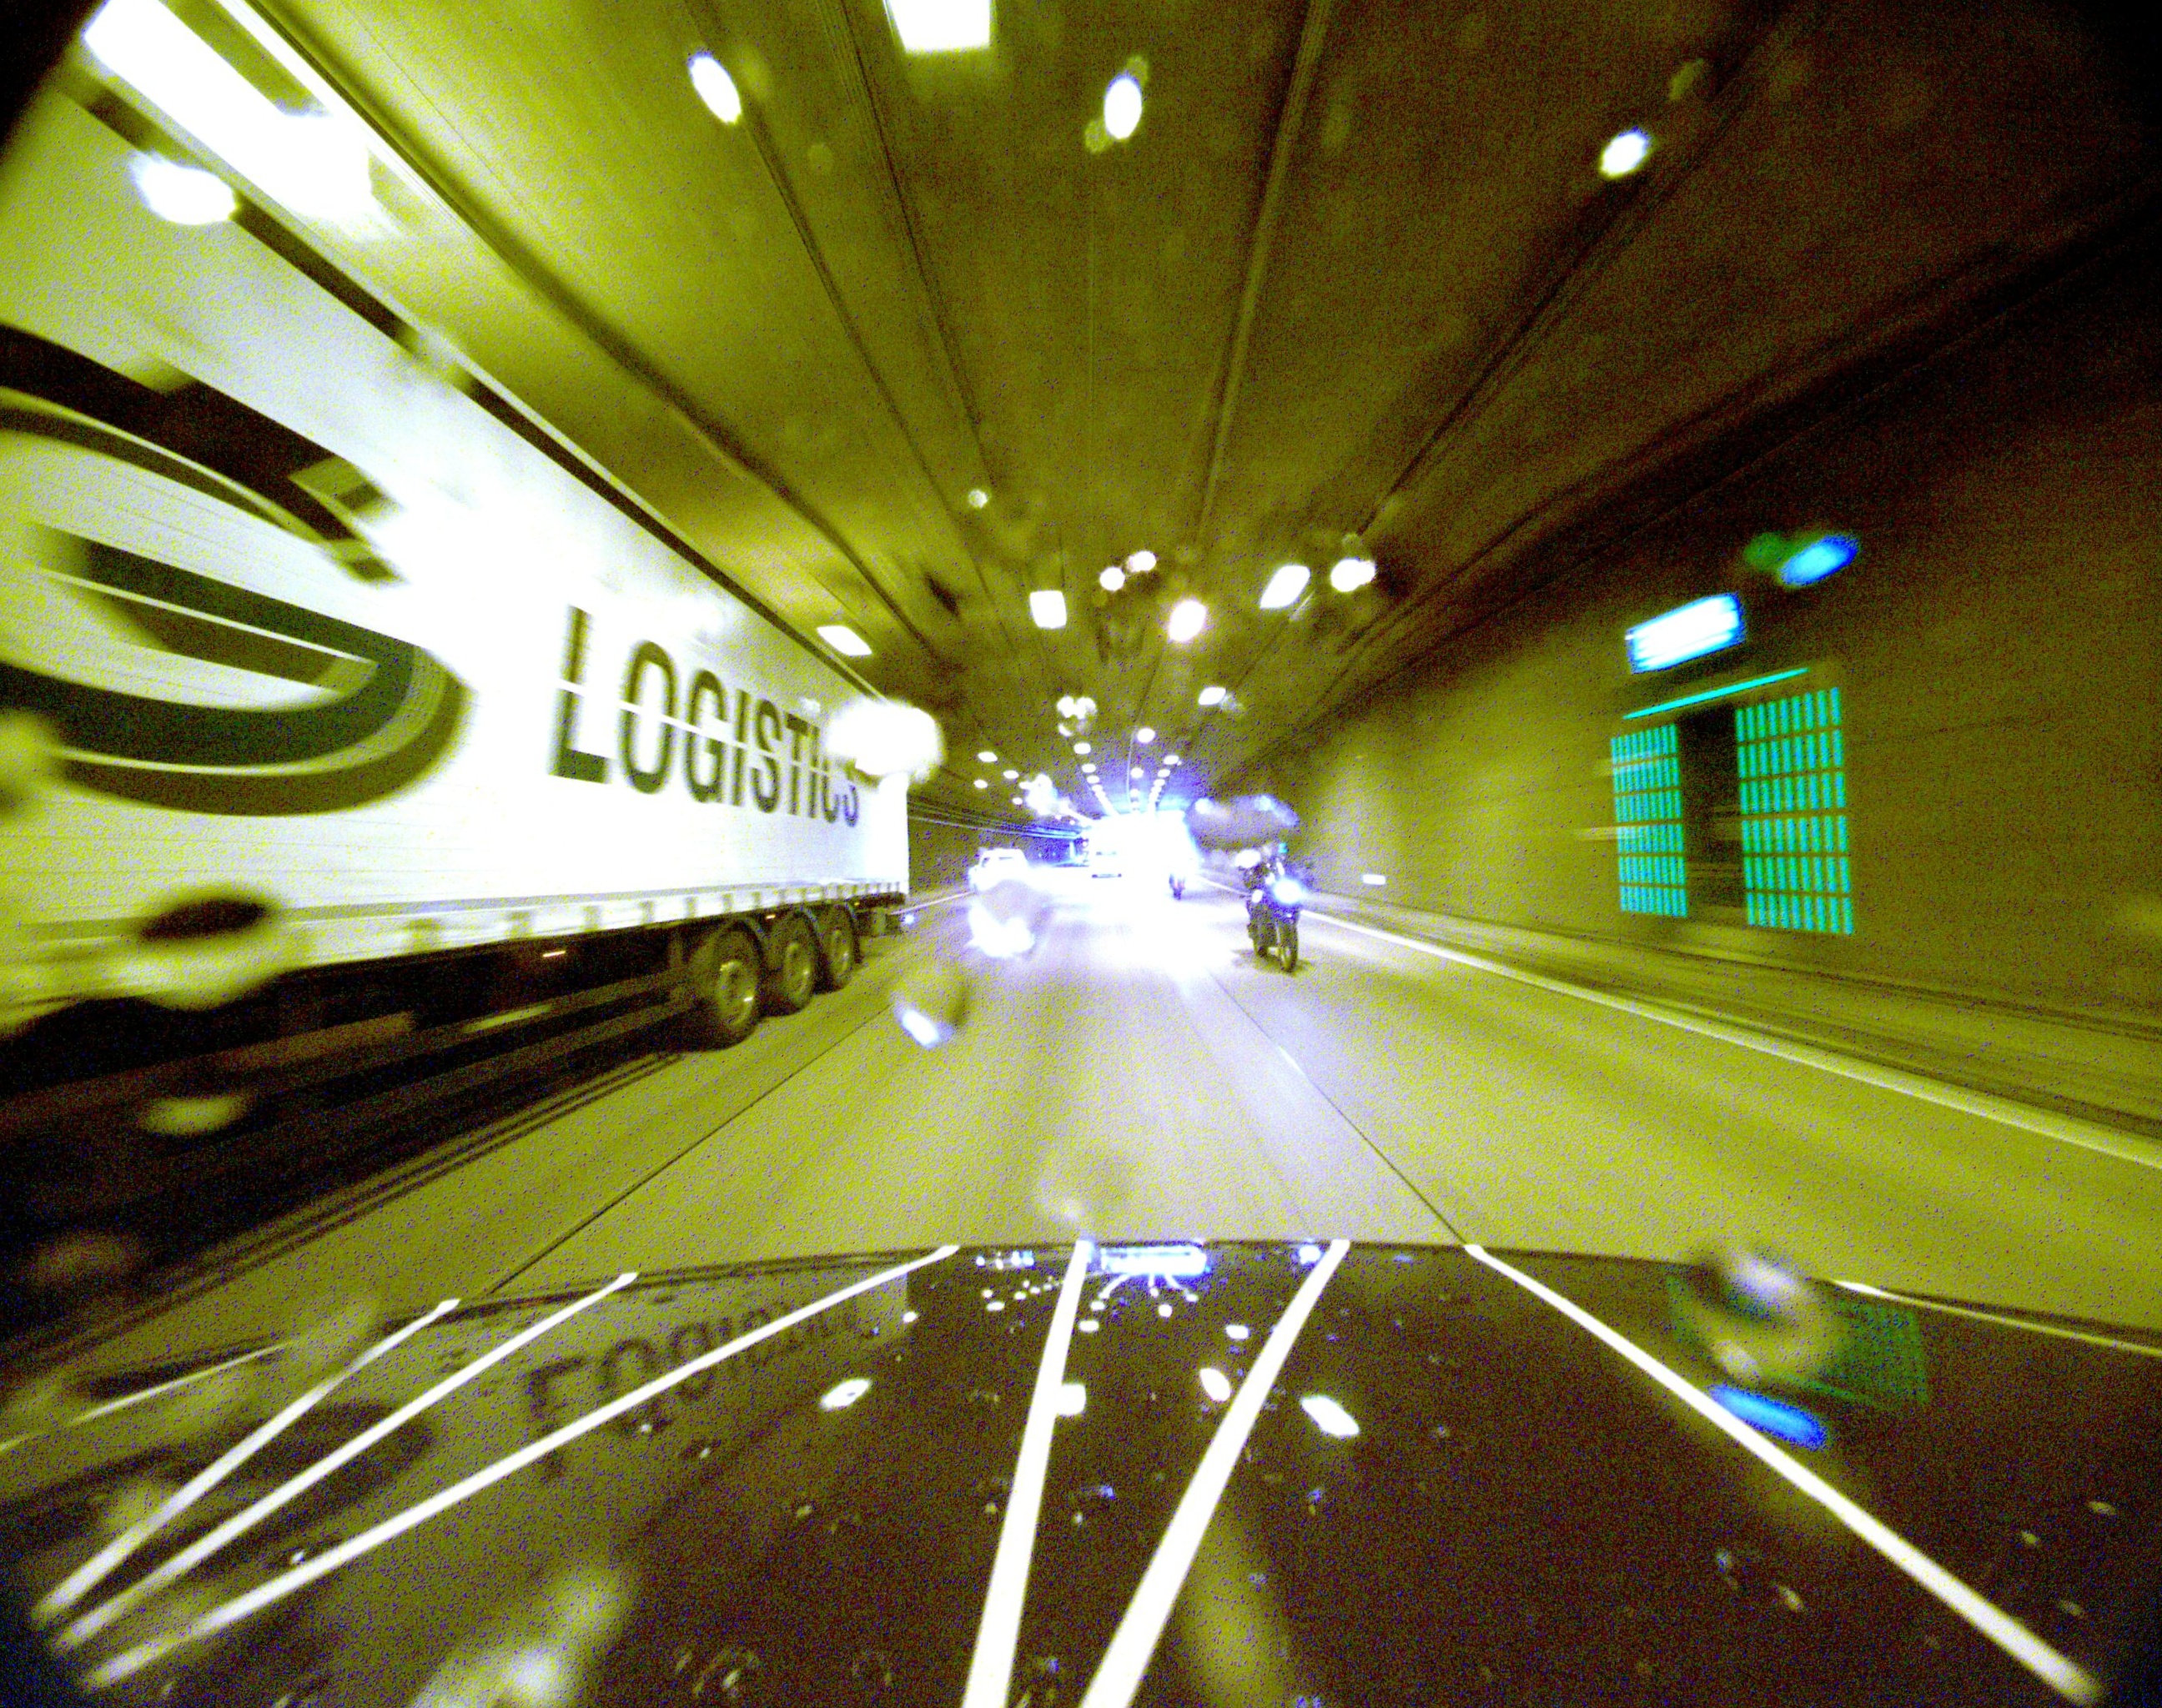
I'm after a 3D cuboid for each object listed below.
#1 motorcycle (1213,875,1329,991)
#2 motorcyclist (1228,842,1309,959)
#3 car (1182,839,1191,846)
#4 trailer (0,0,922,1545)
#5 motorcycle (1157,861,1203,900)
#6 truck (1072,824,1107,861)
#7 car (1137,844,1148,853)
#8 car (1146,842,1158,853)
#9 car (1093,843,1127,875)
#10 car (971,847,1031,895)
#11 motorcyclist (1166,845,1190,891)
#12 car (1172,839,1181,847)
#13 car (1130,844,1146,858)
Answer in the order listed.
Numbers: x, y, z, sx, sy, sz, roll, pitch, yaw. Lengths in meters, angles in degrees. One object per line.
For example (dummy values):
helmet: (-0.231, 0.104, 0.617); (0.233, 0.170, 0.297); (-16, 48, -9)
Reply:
motorcycle: (2.428, 0.955, 10.103); (0.848, 1.238, 2.604); (-2, 0, 0)
motorcyclist: (2.467, 0.596, 10.104); (0.841, 1.469, 0.821); (-2, 0, 0)
car: (29.105, -3.195, 209.317); (1.997, 1.788, 4.002); (-2, 1, 11)
trailer: (-4.060, -0.299, 5.140); (2.627, 4.139, 14.000); (-3, 0, 1)
motorcycle: (3.221, 0.836, 25.040); (1.056, 1.151, 2.427); (-1, 0, -3)
truck: (1.060, -1.292, 84.014); (2.899, 3.819, 9.000); (-2, 1, 6)
car: (12.553, -1.146, 155.434); (1.998, 1.788, 4.001); (-3, 1, 6)
car: (12.548, -1.146, 134.201); (1.998, 1.788, 4.001); (-3, 1, 6)
car: (1.852, 0.312, 48.626); (1.998, 1.890, 4.000); (-2, 0, 2)
car: (-3.360, 0.672, 32.648); (1.839, 1.849, 4.289); (-2, 0, 3)
motorcyclist: (3.198, 0.466, 25.097); (0.628, 1.480, 0.890); (-2, 1, -3)
car: (24.093, -2.745, 191.618); (1.997, 1.788, 4.002); (-2, 1, 10)
car: (7.666, -0.409, 102.221); (1.998, 1.788, 4.001); (-3, 1, 6)
